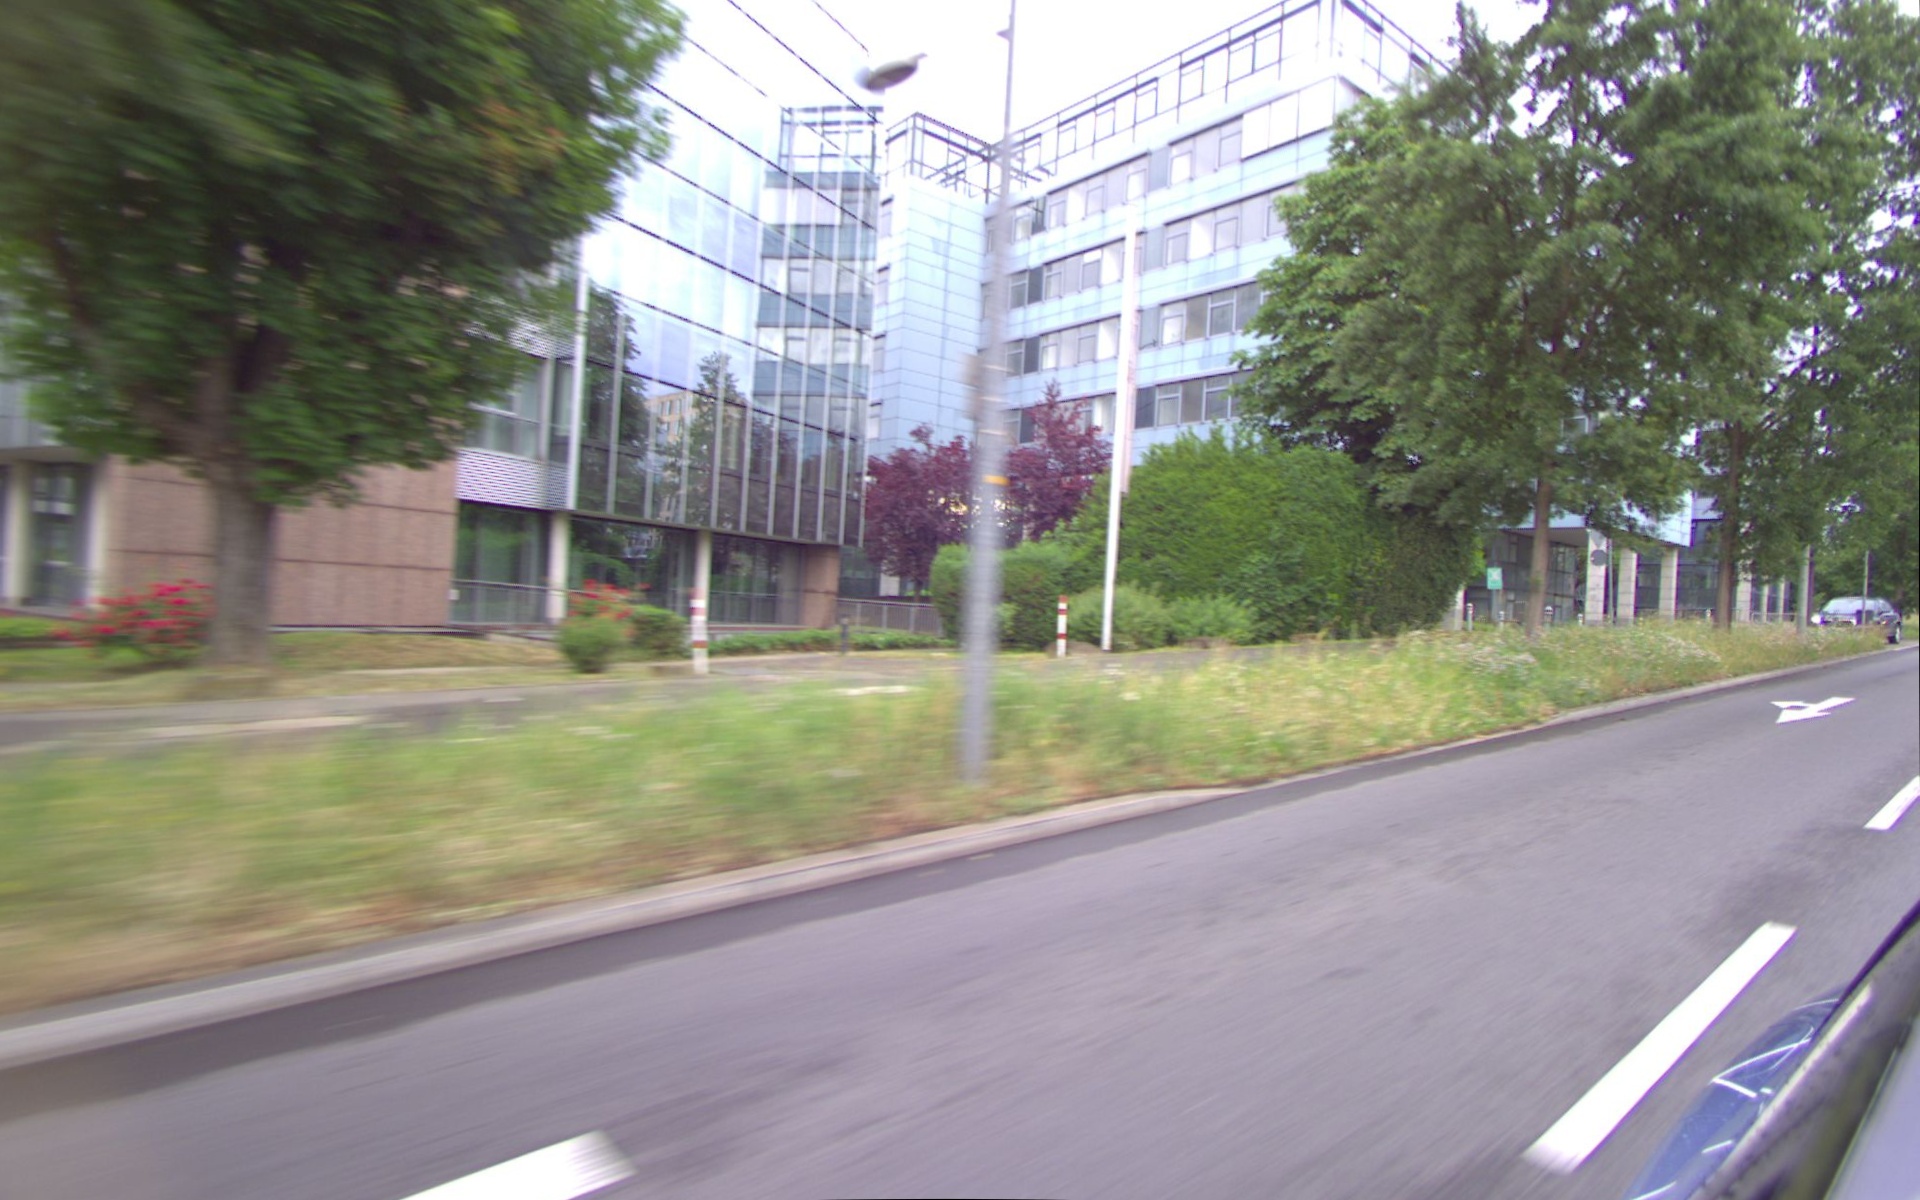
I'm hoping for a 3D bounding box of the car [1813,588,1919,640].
[{"bbox_3d":[31.906,0.467,35.533,4.285,1.691,1.818,0,0,-33],"label":"car"}]
